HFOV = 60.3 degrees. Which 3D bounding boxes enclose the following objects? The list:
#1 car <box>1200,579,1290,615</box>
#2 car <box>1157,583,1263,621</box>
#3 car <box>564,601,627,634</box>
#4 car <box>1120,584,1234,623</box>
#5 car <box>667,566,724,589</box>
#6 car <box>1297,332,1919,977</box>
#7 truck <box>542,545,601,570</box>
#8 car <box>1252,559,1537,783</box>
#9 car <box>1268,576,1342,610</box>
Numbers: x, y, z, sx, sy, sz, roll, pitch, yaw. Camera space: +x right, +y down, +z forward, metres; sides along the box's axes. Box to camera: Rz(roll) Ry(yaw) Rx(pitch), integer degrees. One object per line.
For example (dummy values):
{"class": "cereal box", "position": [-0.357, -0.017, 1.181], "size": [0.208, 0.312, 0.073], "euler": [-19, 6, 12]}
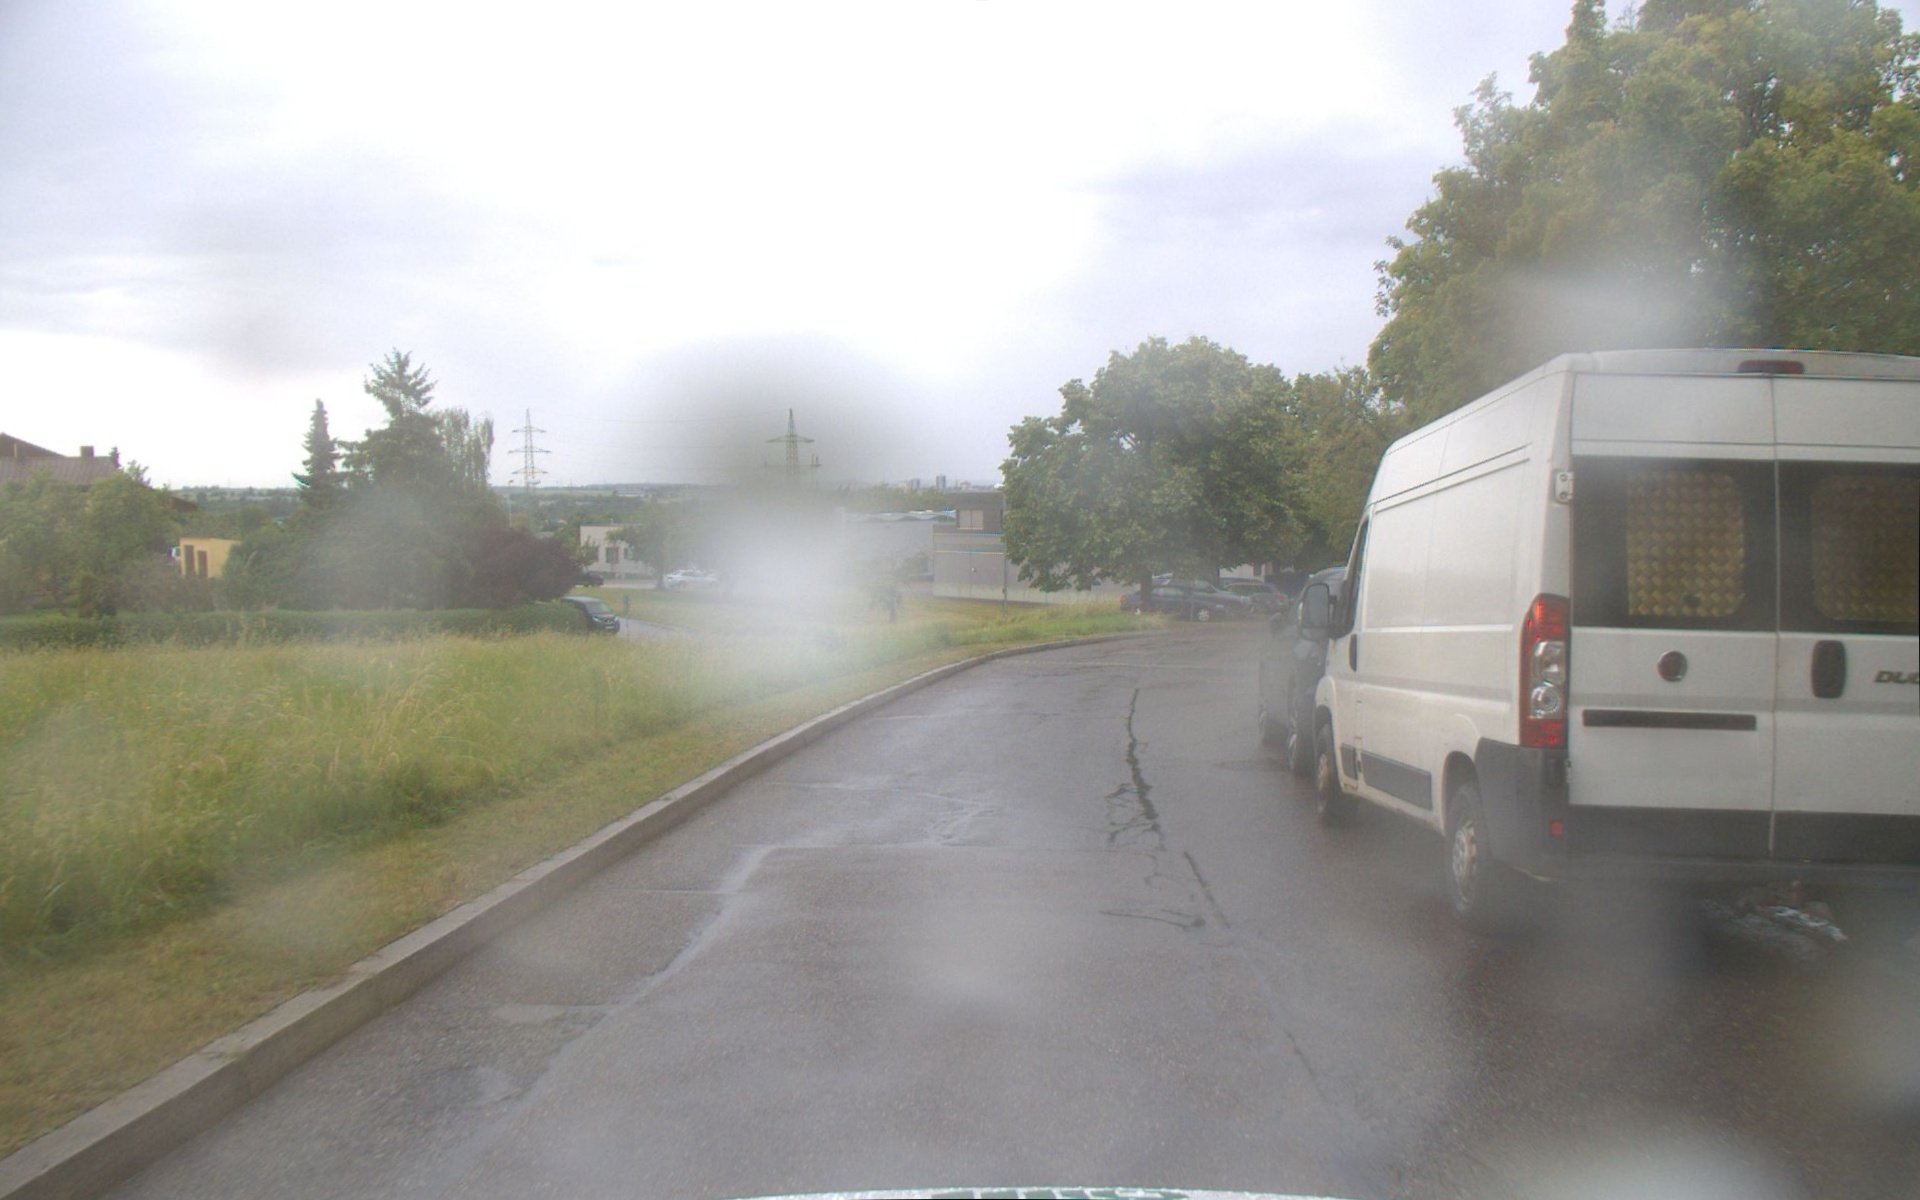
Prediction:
{"class": "car", "position": [12.698, -0.131, 73.642], "size": [3.788, 1.574, 1.774], "euler": [0, 1, 17]}
{"class": "car", "position": [9.980, 0.079, 66.069], "size": [3.903, 1.384, 1.855], "euler": [-2, 0, 18]}
{"class": "car", "position": [-19.952, 0.953, 90.496], "size": [1.765, 1.624, 3.942], "euler": [-2, 2, -40]}
{"class": "car", "position": [8.412, 0.141, 64.131], "size": [4.078, 1.378, 1.863], "euler": [-2, 0, 18]}
{"class": "car", "position": [-21.719, -1.861, 135.818], "size": [4.226, 1.731, 1.776], "euler": [1, 3, -35]}
{"class": "car", "position": [3.394, 0.188, 9.196], "size": [2.074, 2.510, 5.511], "euler": [0, 0, 2]}
{"class": "truck", "position": [-39.103, -4.270, 166.526], "size": [5.266, 2.349, 2.406], "euler": [0, 3, -35]}
{"class": "car", "position": [3.791, 0.507, 15.211], "size": [1.771, 1.733, 4.602], "euler": [0, 1, 5]}
{"class": "car", "position": [17.897, -0.364, 85.866], "size": [3.488, 1.633, 1.693], "euler": [-2, 0, 21]}
